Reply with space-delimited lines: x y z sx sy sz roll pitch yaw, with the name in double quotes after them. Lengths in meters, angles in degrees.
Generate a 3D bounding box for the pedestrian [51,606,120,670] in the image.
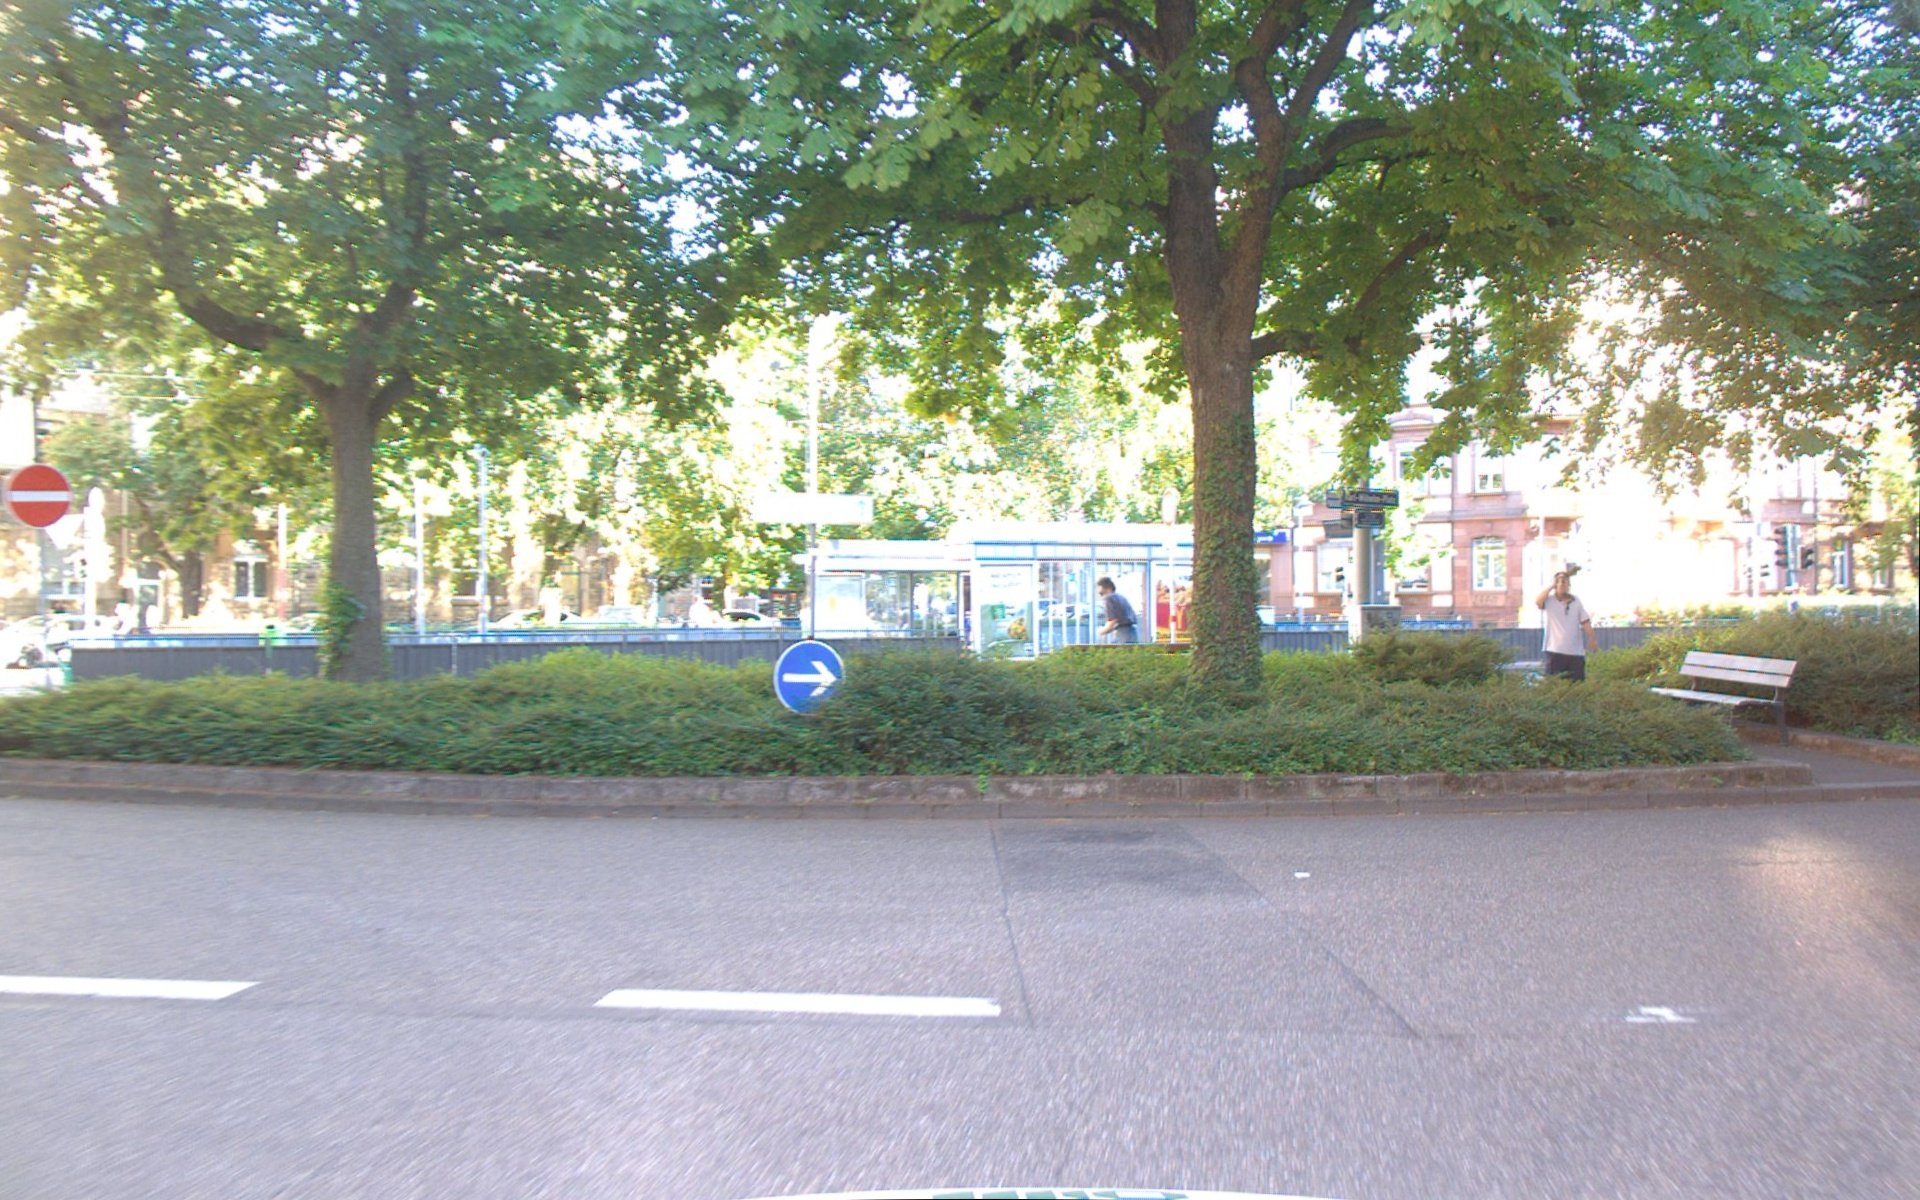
-27.314 1.171 51.684 1.232 1.945 1.492 -1 -1 29 "pedestrian"

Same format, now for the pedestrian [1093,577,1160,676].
3.302 0.512 32.886 1.003 1.931 0.906 0 0 -24 "pedestrian"

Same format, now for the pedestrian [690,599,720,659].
-7.423 0.847 48.092 0.692 1.725 0.666 2 -1 -23 "pedestrian"

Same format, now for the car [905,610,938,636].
-2.518 1.506 109.002 1.723 1.635 4.002 -1 0 4 "car"

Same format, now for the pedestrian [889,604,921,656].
-1.693 0.928 50.830 0.795 1.570 0.818 1 -1 -13 "pedestrian"

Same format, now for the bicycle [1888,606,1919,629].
36.417 0.667 63.654 1.196 0.877 0.450 -1 0 -7 "bicycle"

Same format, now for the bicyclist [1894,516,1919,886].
4.955 0.459 7.732 0.905 1.711 0.743 0 -1 -41 "bicyclist"

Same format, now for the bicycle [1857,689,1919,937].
5.013 0.935 7.777 2.042 1.029 0.729 -1 1 -41 "bicycle"

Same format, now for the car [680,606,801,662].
-7.934 1.214 59.802 3.940 1.903 1.982 -1 0 -27 "car"

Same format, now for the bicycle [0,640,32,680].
-24.190 1.503 41.287 0.639 0.962 1.741 -1 0 26 "bicycle"

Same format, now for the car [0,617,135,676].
-24.236 1.207 44.091 1.857 1.464 3.704 -1 0 24 "car"

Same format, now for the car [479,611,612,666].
-13.878 1.258 55.465 1.921 1.709 3.921 -1 0 44 "car"

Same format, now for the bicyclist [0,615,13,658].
-24.185 0.924 41.317 0.598 1.072 0.676 -1 0 25 "bicyclist"

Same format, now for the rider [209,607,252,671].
-19.889 1.064 45.084 0.801 1.711 0.671 1 -1 8 "rider"

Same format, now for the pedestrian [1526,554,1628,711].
6.894 0.360 18.509 0.896 1.713 0.781 -1 0 8 "pedestrian"

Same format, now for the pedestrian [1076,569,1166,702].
2.125 0.459 21.809 0.880 1.713 0.817 -1 0 32 "pedestrian"

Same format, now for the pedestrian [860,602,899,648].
-2.964 0.901 60.765 1.053 1.659 0.990 0 0 -38 "pedestrian"
